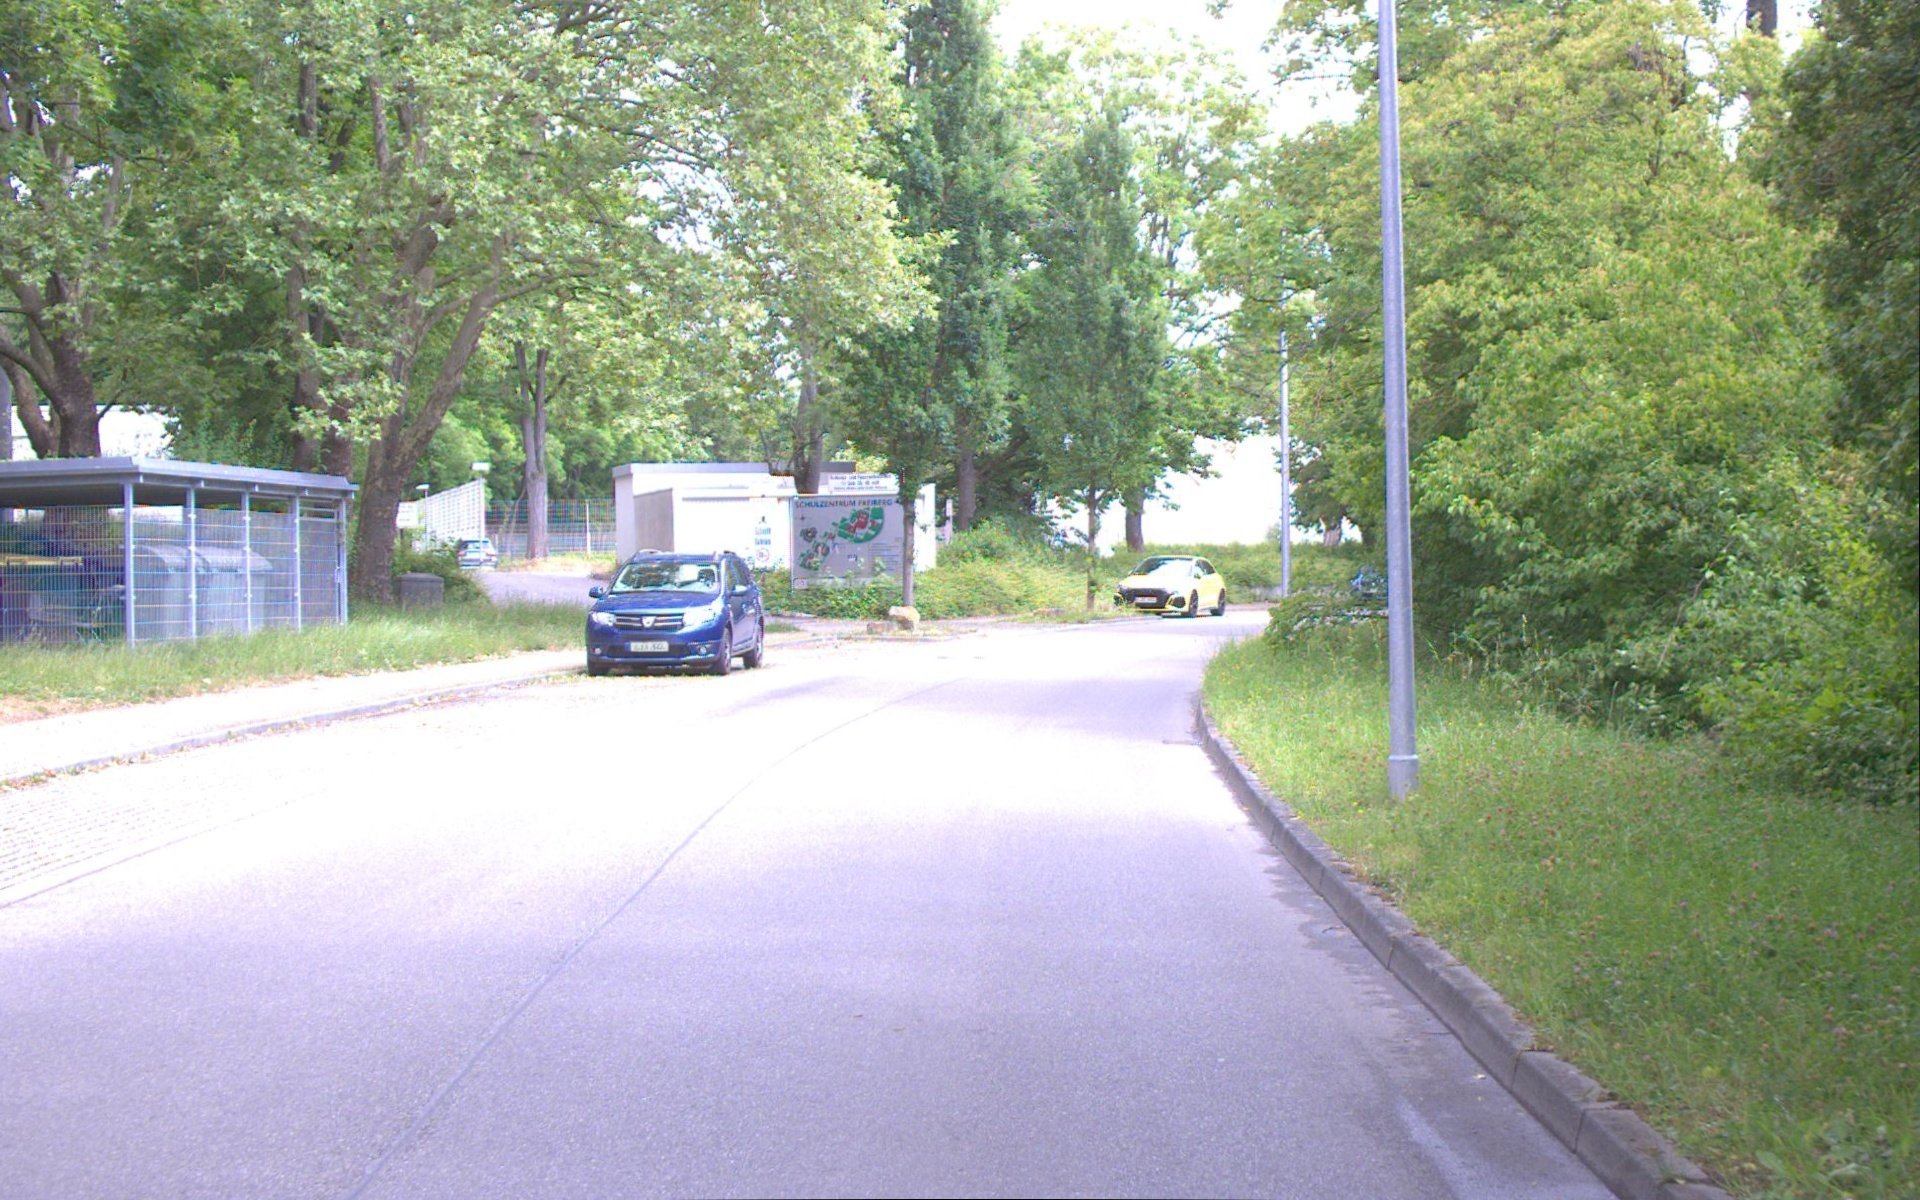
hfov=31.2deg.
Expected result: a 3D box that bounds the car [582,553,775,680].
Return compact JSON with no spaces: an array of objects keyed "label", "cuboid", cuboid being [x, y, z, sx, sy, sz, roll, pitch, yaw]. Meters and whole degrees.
[{"label":"car","cuboid":[-3.463,0.177,43.052,1.680,1.506,4.430,0,1,5]}]

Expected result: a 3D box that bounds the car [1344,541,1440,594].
[{"label":"car","cuboid":[12.179,-0.922,96.804,1.535,1.454,3.715,0,1,26]}]

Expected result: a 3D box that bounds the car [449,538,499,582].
[{"label":"car","cuboid":[-19.766,-1.636,139.901,1.872,1.740,4.001,-1,1,-6]}]

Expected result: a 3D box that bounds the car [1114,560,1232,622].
[{"label":"car","cuboid":[5.003,-0.223,80.305,1.701,1.398,4.269,1,0,18]}]
